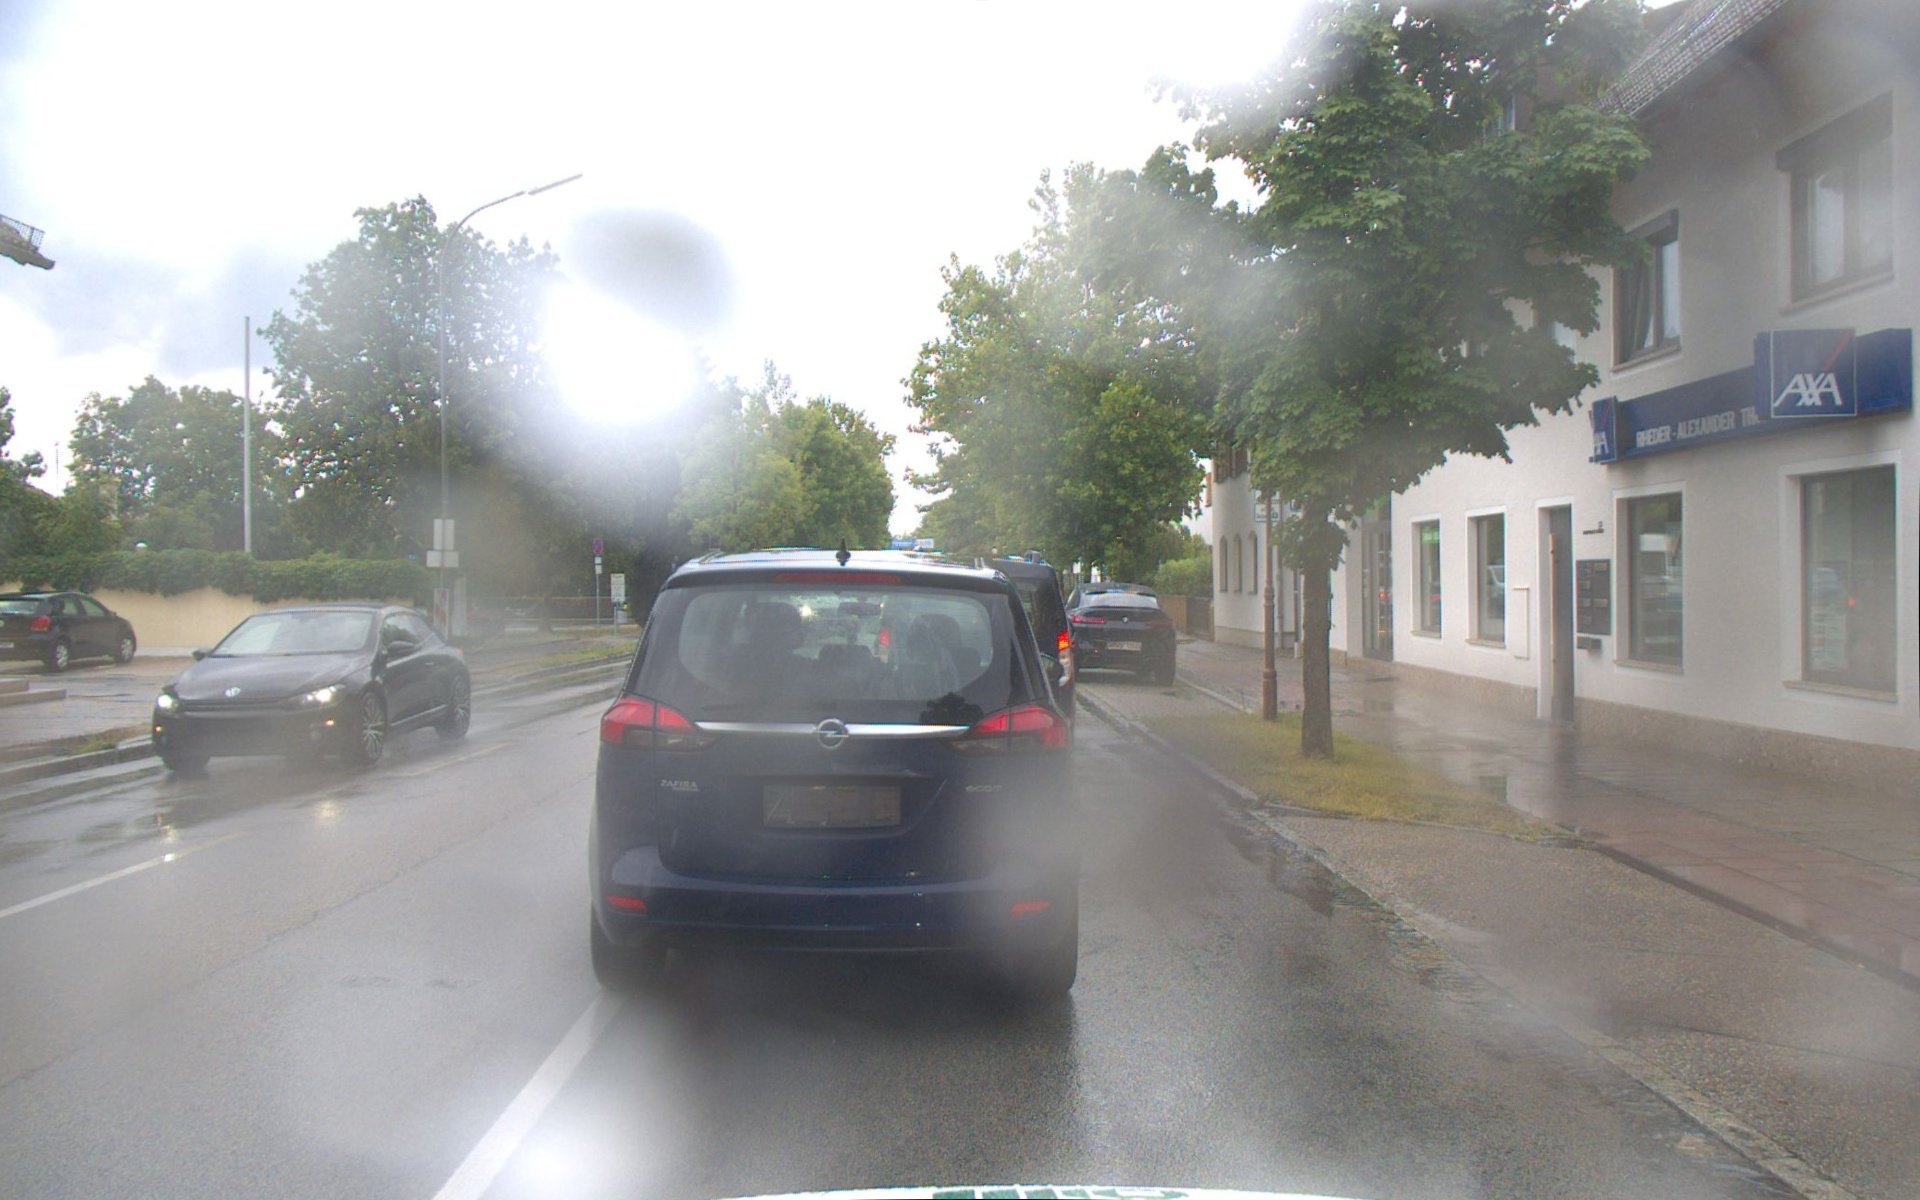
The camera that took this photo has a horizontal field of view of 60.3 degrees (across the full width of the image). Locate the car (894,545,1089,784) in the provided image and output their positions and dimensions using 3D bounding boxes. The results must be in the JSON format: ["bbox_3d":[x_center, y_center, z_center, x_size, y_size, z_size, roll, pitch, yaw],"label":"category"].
[{"bbox_3d":[0.228,0.486,14.199,1.470,1.807,3.111,1,0,-1],"label":"car"}]

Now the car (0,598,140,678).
[{"bbox_3d":[-17.271,0.689,31.505,1.574,1.404,3.508,-2,0,-1],"label":"car"}]

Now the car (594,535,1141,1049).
[{"bbox_3d":[-0.313,0.605,7.130,1.733,1.632,3.663,1,0,-1],"label":"car"}]

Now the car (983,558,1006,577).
[{"bbox_3d":[2.663,-2.478,126.634,1.597,1.402,3.622,-2,0,-1],"label":"car"}]

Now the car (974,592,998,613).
[{"bbox_3d":[1.848,0.174,117.068,1.597,1.402,3.622,1,0,-1],"label":"car"}]

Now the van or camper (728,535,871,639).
[{"bbox_3d":[-4.681,-0.368,47.206,2.068,2.754,6.216,-1,0,-26],"label":"van or camper"}]

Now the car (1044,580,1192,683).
[{"bbox_3d":[2.627,0.503,28.456,2.074,1.609,3.934,1,0,-1],"label":"car"}]

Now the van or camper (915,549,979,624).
[{"bbox_3d":[-0.509,-0.505,63.150,2.312,2.712,5.371,-1,0,-1],"label":"van or camper"}]

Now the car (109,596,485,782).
[{"bbox_3d":[-5.970,0.723,15.449,1.956,1.432,3.883,-2,0,-1],"label":"car"}]
